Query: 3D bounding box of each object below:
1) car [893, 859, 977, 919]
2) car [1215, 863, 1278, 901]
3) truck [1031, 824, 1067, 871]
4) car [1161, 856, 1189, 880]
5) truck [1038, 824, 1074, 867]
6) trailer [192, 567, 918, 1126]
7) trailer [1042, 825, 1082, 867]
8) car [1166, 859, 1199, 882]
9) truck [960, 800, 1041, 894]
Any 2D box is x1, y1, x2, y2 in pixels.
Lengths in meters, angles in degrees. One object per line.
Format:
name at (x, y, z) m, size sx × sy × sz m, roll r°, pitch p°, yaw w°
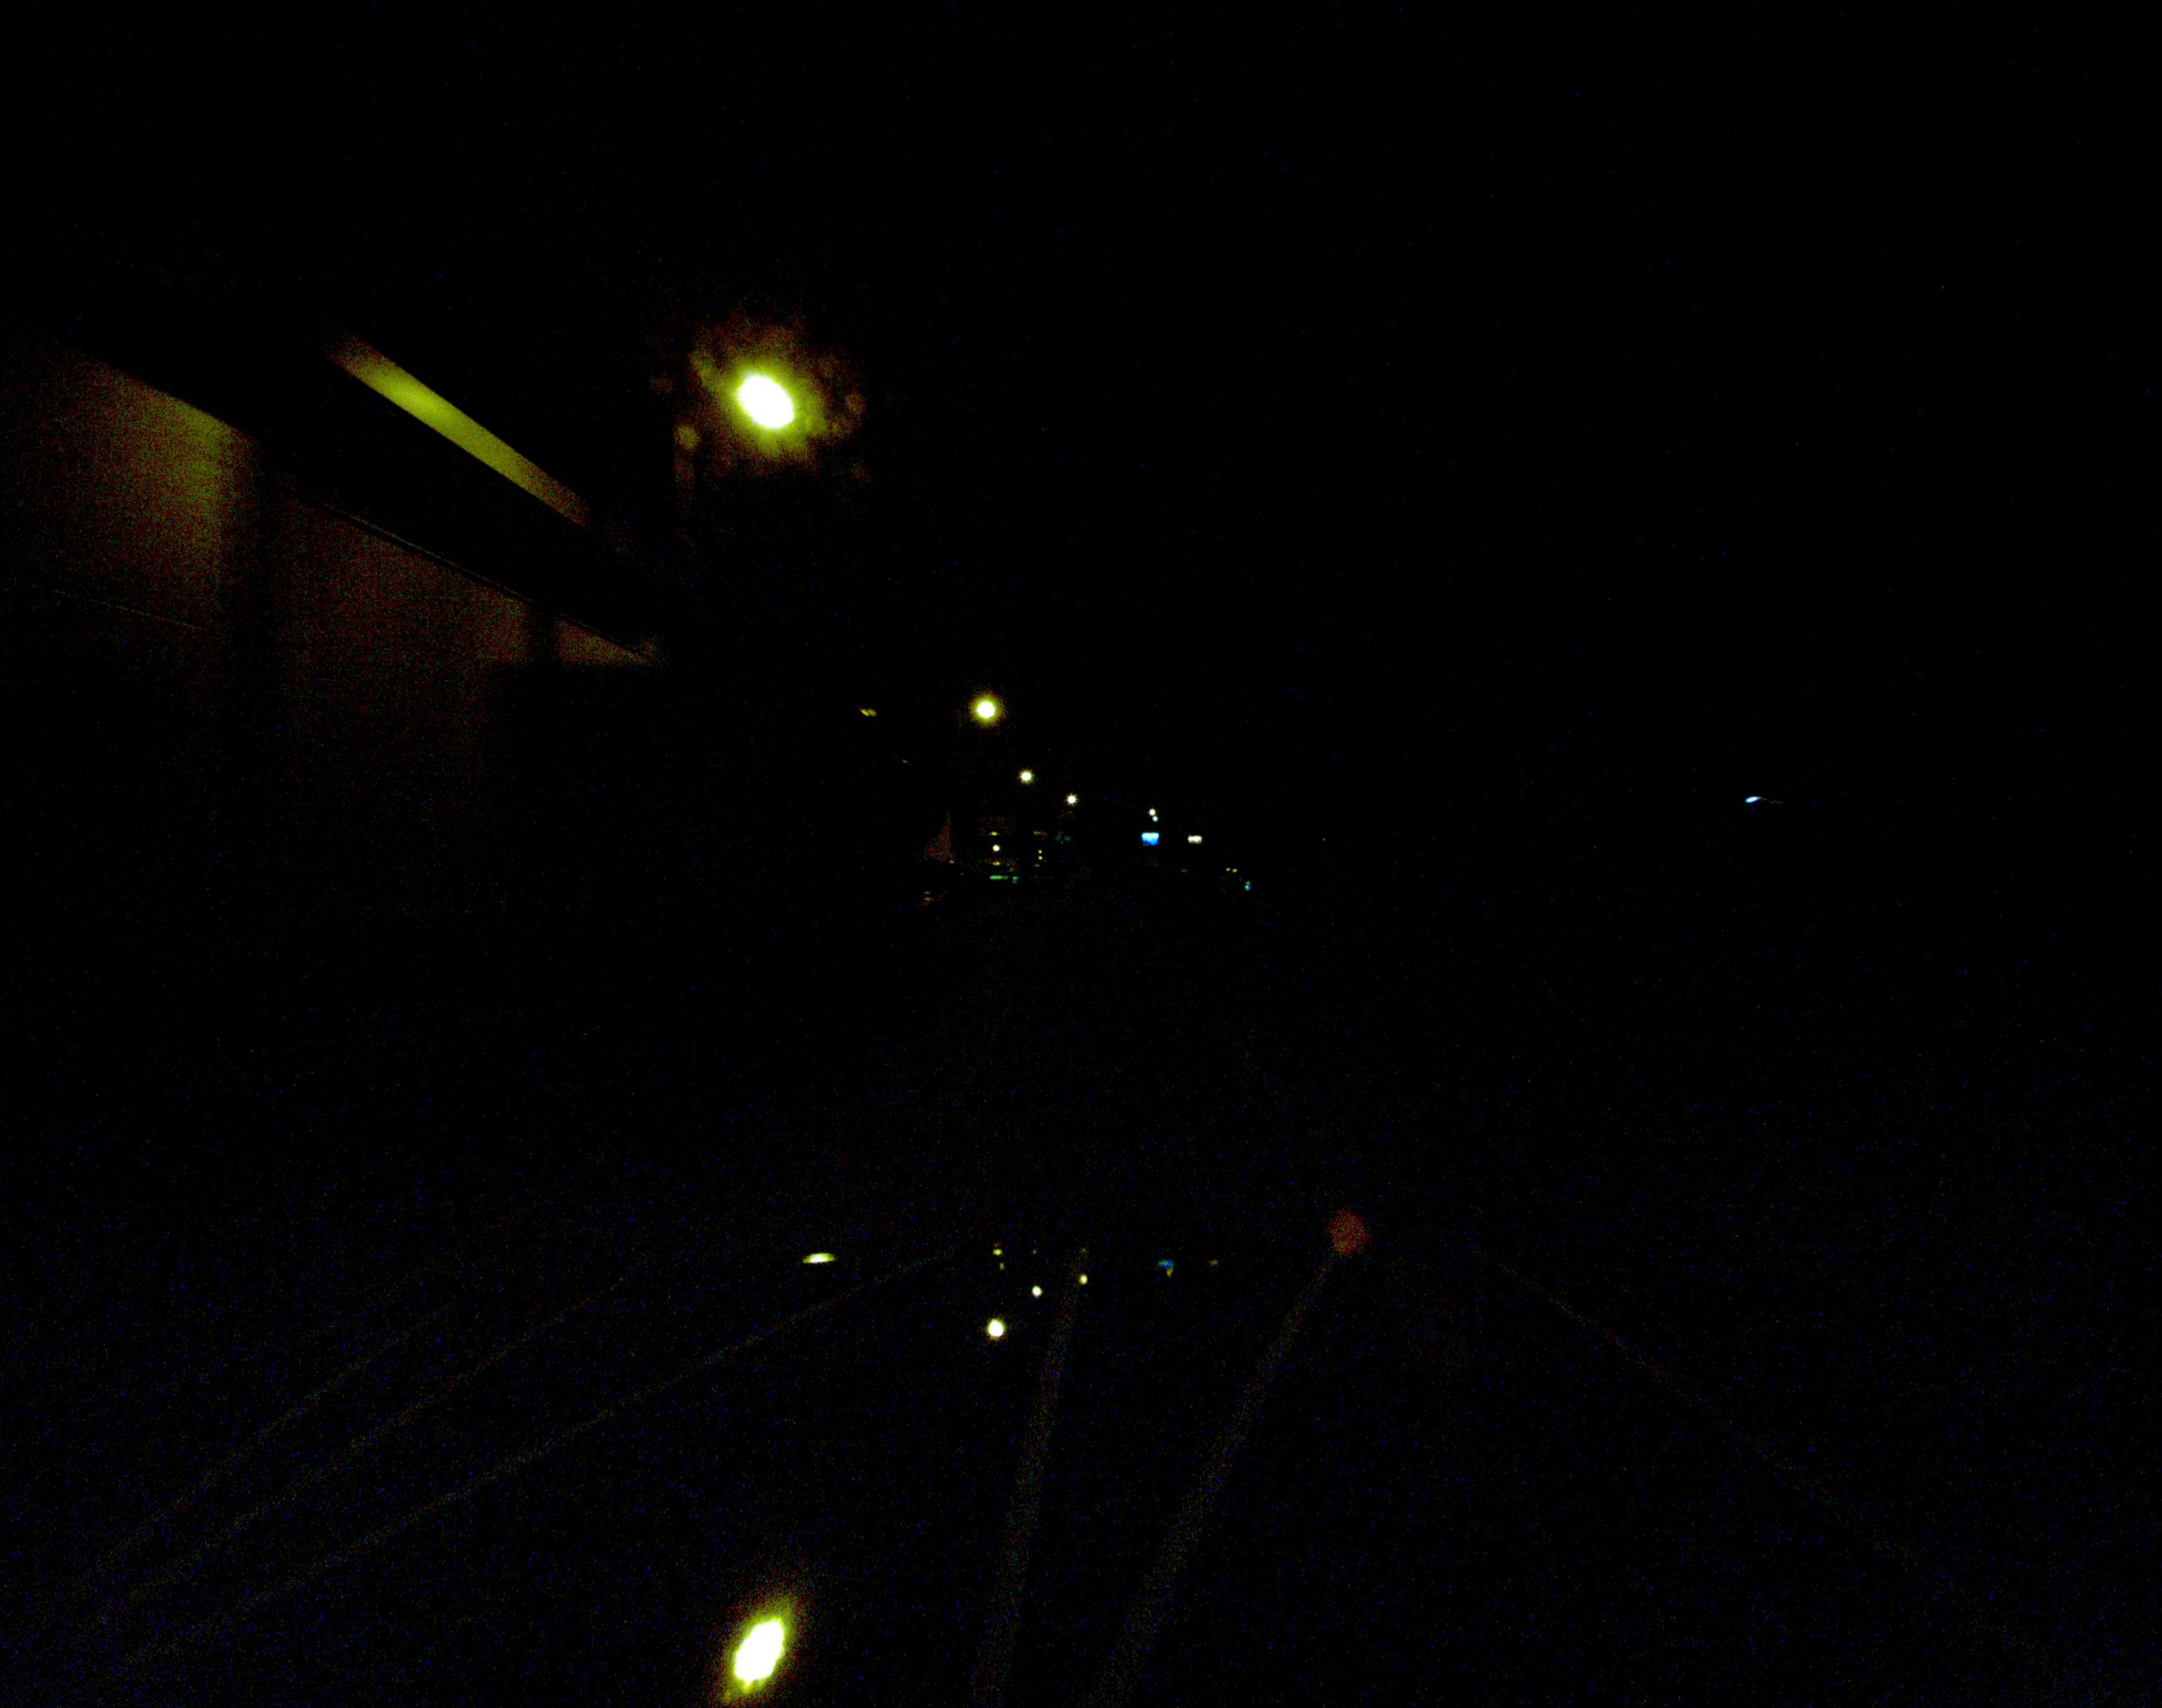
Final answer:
car at (-4.127, 0.953, 21.938) m, size 1.685 × 1.551 × 3.476 m, roll -1°, pitch 0°, yaw 1°
car at (6.756, 1.099, 31.431) m, size 1.761 × 1.382 × 4.309 m, roll -1°, pitch 0°, yaw 2°
truck at (-2.875, -0.451, 70.980) m, size 2.660 × 3.850 × 10.233 m, roll -2°, pitch -2°, yaw 1°
car at (6.821, 0.978, 55.304) m, size 1.590 × 1.591 × 3.781 m, roll -2°, pitch 1°, yaw 1°
truck at (-2.647, -0.906, 81.592) m, size 3.072 × 4.449 × 5.636 m, roll -2°, pitch 1°, yaw 5°
trailer at (-4.185, -0.036, 8.933) m, size 2.886 × 3.504 × 8.282 m, roll 0°, pitch 0°, yaw -1°
trailer at (-2.067, -0.953, 88.615) m, size 3.072 × 4.449 × 13.414 m, roll -2°, pitch 1°, yaw 5°
car at (6.648, 1.067, 50.124) m, size 1.690 × 1.357 × 3.879 m, roll -2°, pitch 1°, yaw 1°
truck at (-3.744, -0.260, 37.647) m, size 2.797 × 3.947 × 9.821 m, roll -2°, pitch 0°, yaw 0°
